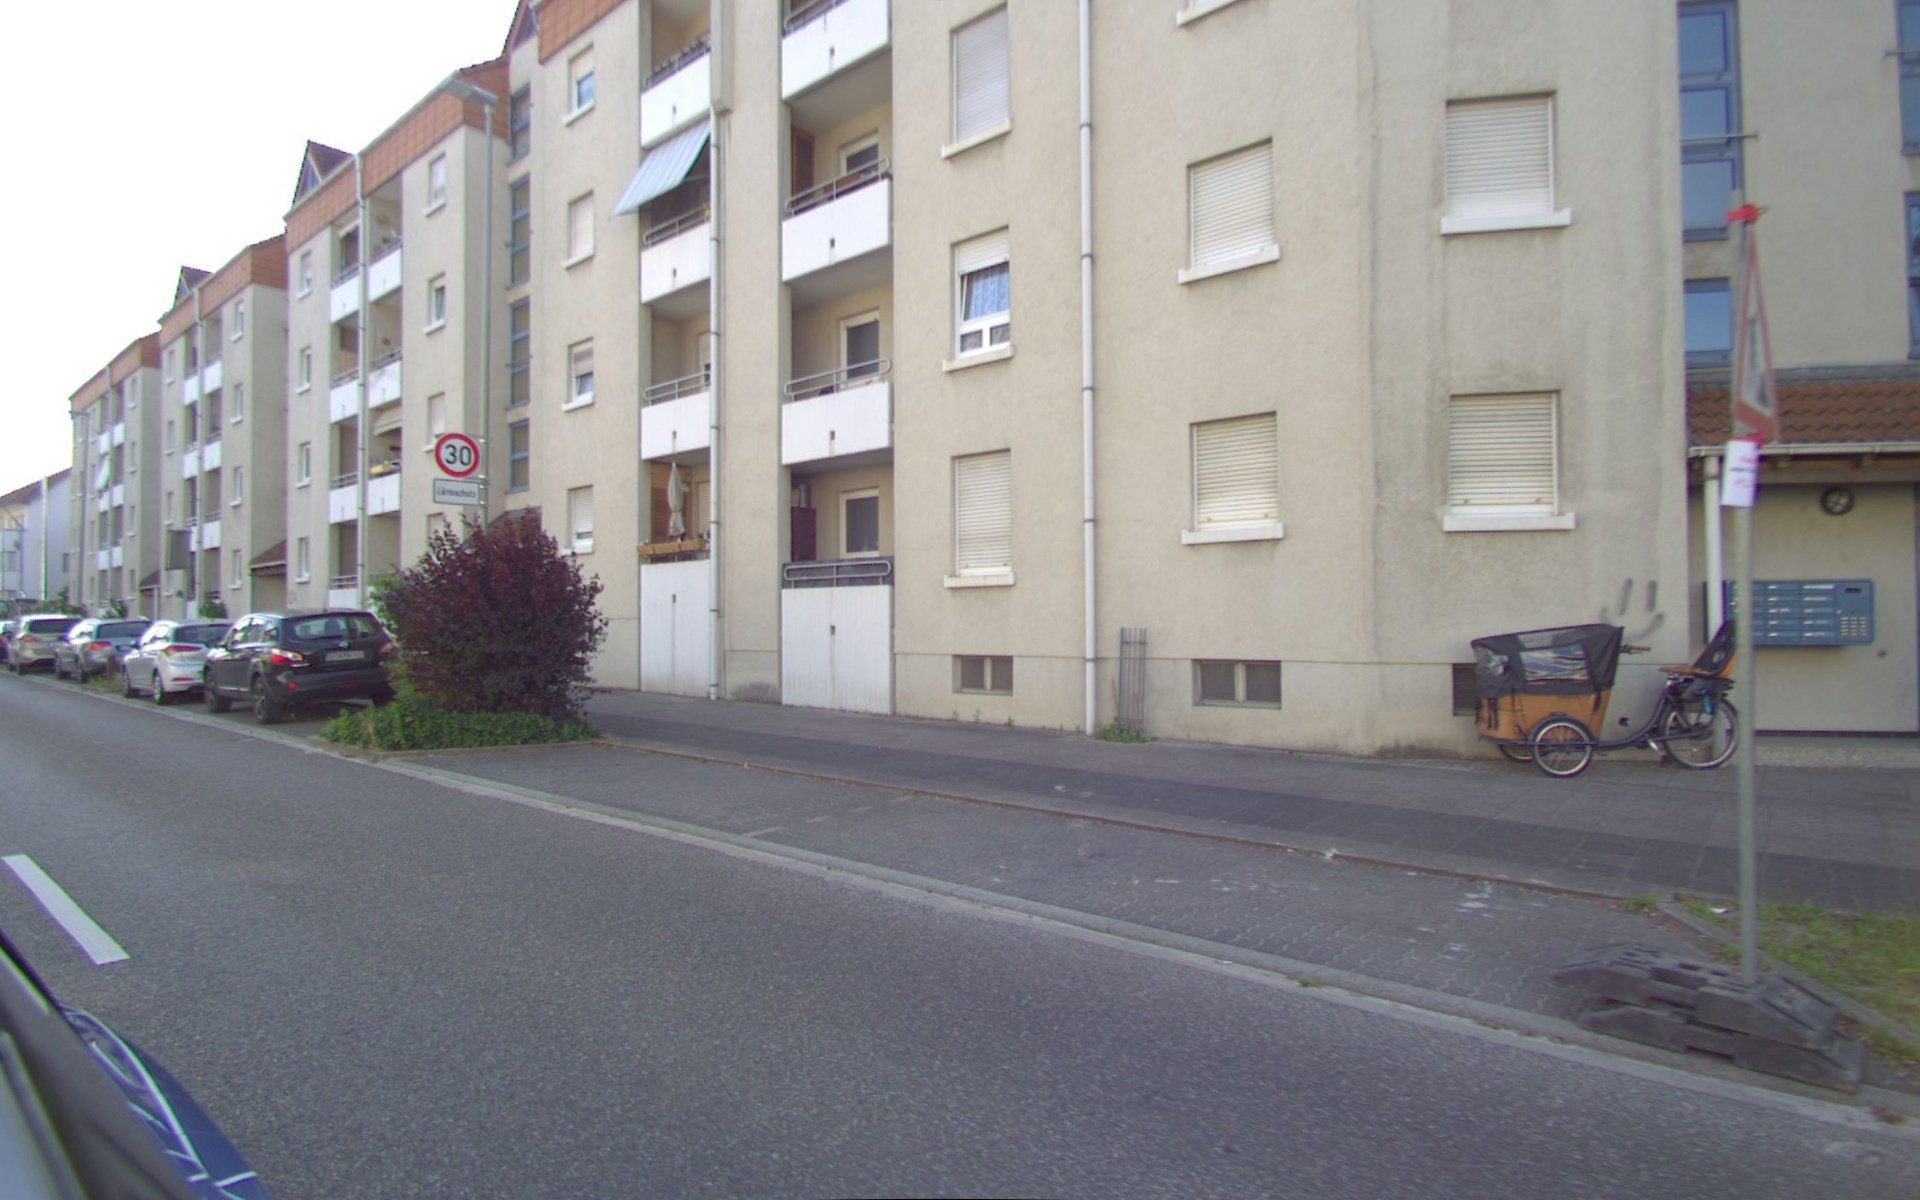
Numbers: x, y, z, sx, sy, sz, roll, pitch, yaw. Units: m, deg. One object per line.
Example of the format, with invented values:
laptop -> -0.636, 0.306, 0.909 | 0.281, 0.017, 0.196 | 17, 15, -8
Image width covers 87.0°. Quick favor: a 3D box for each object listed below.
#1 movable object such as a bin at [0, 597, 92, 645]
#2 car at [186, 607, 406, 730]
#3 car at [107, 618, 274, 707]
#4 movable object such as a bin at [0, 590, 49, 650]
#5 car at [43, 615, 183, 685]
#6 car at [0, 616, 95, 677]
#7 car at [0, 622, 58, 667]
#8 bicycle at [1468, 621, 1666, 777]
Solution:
movable object such as a bin -> -58.443, 1.328, 63.680 | 2.102, 2.922, 5.462 | -2, -1, 28
car -> -10.263, 0.949, 15.516 | 4.367, 1.615, 1.669 | -1, -1, 40
car -> -14.448, 1.090, 18.931 | 4.138, 1.465, 1.668 | -1, -1, 41
movable object such as a bin -> -51.526, 1.116, 55.525 | 3.896, 3.162, 1.631 | -2, -2, 39
car -> -20.606, 1.156, 24.558 | 4.365, 1.532, 1.790 | -1, -1, 39
car -> -25.662, 1.250, 28.322 | 3.964, 1.567, 1.708 | -1, 0, 42
car -> -31.801, 1.462, 34.001 | 4.080, 1.416, 1.669 | -1, -1, 40
bicycle -> 5.188, 0.815, 8.738 | 1.198, 1.259, 0.888 | 0, -1, 10
